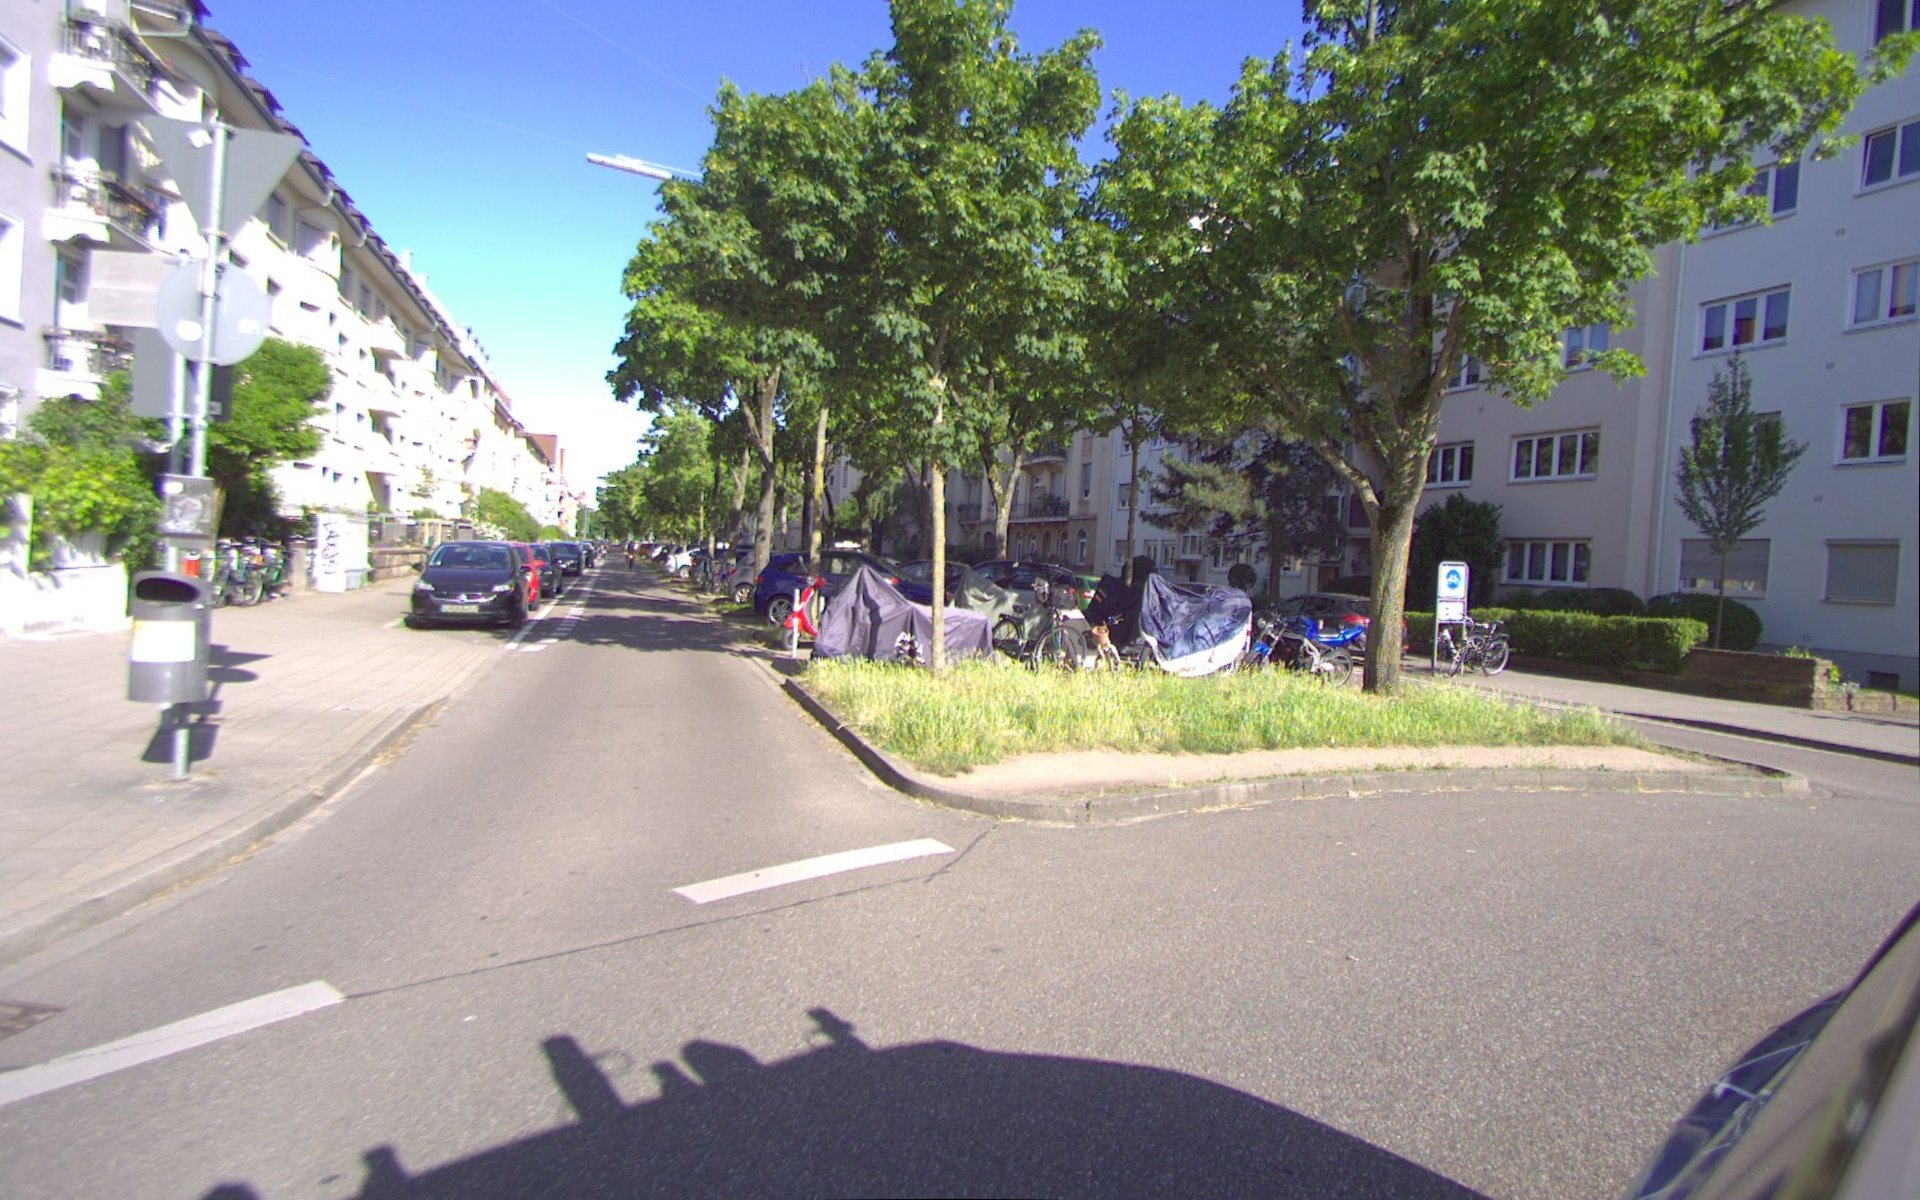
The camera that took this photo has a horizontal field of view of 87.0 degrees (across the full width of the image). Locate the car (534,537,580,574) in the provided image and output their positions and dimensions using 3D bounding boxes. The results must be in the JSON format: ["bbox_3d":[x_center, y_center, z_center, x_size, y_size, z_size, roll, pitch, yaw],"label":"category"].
[{"bbox_3d":[-17.528,-1.982,44.114,1.716,1.425,3.864,3,2,-21],"label":"car"}]

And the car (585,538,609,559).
[{"bbox_3d":[-29.083,-4.129,81.026,1.716,1.475,3.864,3,2,-21],"label":"car"}]

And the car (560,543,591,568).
[{"bbox_3d":[-24.469,-2.831,64.419,1.716,1.425,3.864,3,2,-21],"label":"car"}]

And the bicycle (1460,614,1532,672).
[{"bbox_3d":[10.265,0.810,19.380,1.419,1.069,0.331,0,3,-21],"label":"bicycle"}]

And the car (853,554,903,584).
[{"bbox_3d":[-4.832,-1.844,59.065,1.747,1.503,4.011,4,2,-22],"label":"car"}]

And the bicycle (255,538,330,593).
[{"bbox_3d":[-14.117,-0.757,21.476,0.668,1.072,2.263,3,2,-16],"label":"bicycle"}]

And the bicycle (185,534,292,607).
[{"bbox_3d":[-11.609,-0.503,16.375,0.668,1.072,2.263,3,2,-16],"label":"bicycle"}]

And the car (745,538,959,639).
[{"bbox_3d":[-2.088,-0.260,20.094,3.816,1.660,1.798,4,2,11],"label":"car"}]

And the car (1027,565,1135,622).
[{"bbox_3d":[3.901,-0.260,33.342,1.747,1.524,4.011,4,2,-22],"label":"car"}]

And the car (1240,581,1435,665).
[{"bbox_3d":[8.144,0.433,22.255,1.794,1.428,4.011,4,2,-18],"label":"car"}]

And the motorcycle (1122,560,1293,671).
[{"bbox_3d":[3.285,0.202,13.442,2.011,1.344,0.865,2,2,-22],"label":"motorcycle"}]

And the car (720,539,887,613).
[{"bbox_3d":[-4.010,-0.640,26.262,3.931,1.610,1.705,4,2,6],"label":"car"}]

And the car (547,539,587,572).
[{"bbox_3d":[-19.173,-2.195,49.418,1.716,1.425,3.864,3,2,-21],"label":"car"}]

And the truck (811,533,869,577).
[{"bbox_3d":[-8.318,-3.157,69.579,2.361,2.708,5.922,4,2,-22],"label":"truck"}]

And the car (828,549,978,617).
[{"bbox_3d":[-1.558,-0.491,28.512,3.930,1.617,1.877,3,1,5],"label":"car"}]

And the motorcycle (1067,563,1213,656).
[{"bbox_3d":[3.027,0.156,17.082,2.082,1.409,1.066,3,2,-21],"label":"motorcycle"}]

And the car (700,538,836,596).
[{"bbox_3d":[-6.216,-1.090,32.983,3.931,1.610,1.884,4,2,6],"label":"car"}]

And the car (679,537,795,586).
[{"bbox_3d":[-8.567,-1.496,39.035,3.931,1.610,1.884,4,2,6],"label":"car"}]

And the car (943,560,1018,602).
[{"bbox_3d":[0.821,-0.839,43.625,1.747,1.503,4.011,4,2,-22],"label":"car"}]

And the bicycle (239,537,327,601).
[{"bbox_3d":[-12.468,-0.604,18.705,0.668,1.072,2.263,3,2,-16],"label":"bicycle"}]

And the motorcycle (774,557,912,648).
[{"bbox_3d":[-1.778,0.031,15.310,1.854,1.251,0.892,3,2,-19],"label":"motorcycle"}]

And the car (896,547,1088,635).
[{"bbox_3d":[0.652,-0.224,22.176,3.924,1.617,2.001,3,1,-1],"label":"car"}]

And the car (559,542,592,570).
[{"bbox_3d":[-22.598,-2.615,59.471,1.716,1.425,3.864,3,2,-21],"label":"car"}]

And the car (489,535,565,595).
[{"bbox_3d":[-11.963,-1.011,28.154,1.716,1.462,3.864,3,2,-21],"label":"car"}]

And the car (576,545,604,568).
[{"bbox_3d":[-26.592,-3.141,72.662,1.716,1.425,3.864,3,2,-21],"label":"car"}]

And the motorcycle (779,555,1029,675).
[{"bbox_3d":[-0.674,0.180,12.211,2.726,1.283,1.130,2,2,-24],"label":"motorcycle"}]

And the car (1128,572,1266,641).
[{"bbox_3d":[6.337,0.115,27.553,1.747,1.503,4.011,4,2,-18],"label":"car"}]

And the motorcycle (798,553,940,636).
[{"bbox_3d":[-1.587,-0.104,17.532,2.195,1.283,1.054,3,2,-19],"label":"motorcycle"}]

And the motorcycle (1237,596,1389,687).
[{"bbox_3d":[4.897,0.575,14.062,1.806,1.086,0.816,4,2,-19],"label":"motorcycle"}]

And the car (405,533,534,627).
[{"bbox_3d":[-8.589,-0.423,17.988,1.716,1.462,3.966,1,3,-21],"label":"car"}]

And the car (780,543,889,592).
[{"bbox_3d":[-5.116,-1.330,41.224,3.953,1.744,1.873,4,2,21],"label":"car"}]

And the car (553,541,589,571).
[{"bbox_3d":[-21.116,-2.394,54.980,1.716,1.425,3.864,3,2,-21],"label":"car"}]

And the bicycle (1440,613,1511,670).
[{"bbox_3d":[10.105,0.796,19.827,1.419,1.069,0.331,0,3,-21],"label":"bicycle"}]

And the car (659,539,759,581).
[{"bbox_3d":[-11.230,-1.790,45.461,3.931,1.610,1.884,4,2,6],"label":"car"}]

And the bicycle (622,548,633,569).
[{"bbox_3d":[-18.189,-2.273,55.376,0.504,1.077,1.915,3,2,-19],"label":"bicycle"}]

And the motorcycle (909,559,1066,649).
[{"bbox_3d":[0.424,0.055,16.063,2.195,1.283,1.054,3,2,-19],"label":"motorcycle"}]

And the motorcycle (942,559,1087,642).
[{"bbox_3d":[0.935,0.011,17.497,2.195,1.283,1.054,3,2,-19],"label":"motorcycle"}]

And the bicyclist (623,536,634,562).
[{"bbox_3d":[-18.143,-2.807,55.345,0.496,1.383,0.705,3,2,-19],"label":"bicyclist"}]

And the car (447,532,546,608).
[{"bbox_3d":[-10.316,-0.725,22.751,1.716,1.462,3.864,3,2,-21],"label":"car"}]

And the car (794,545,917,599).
[{"bbox_3d":[-3.552,-0.962,34.804,3.928,1.567,1.781,4,2,4],"label":"car"}]
